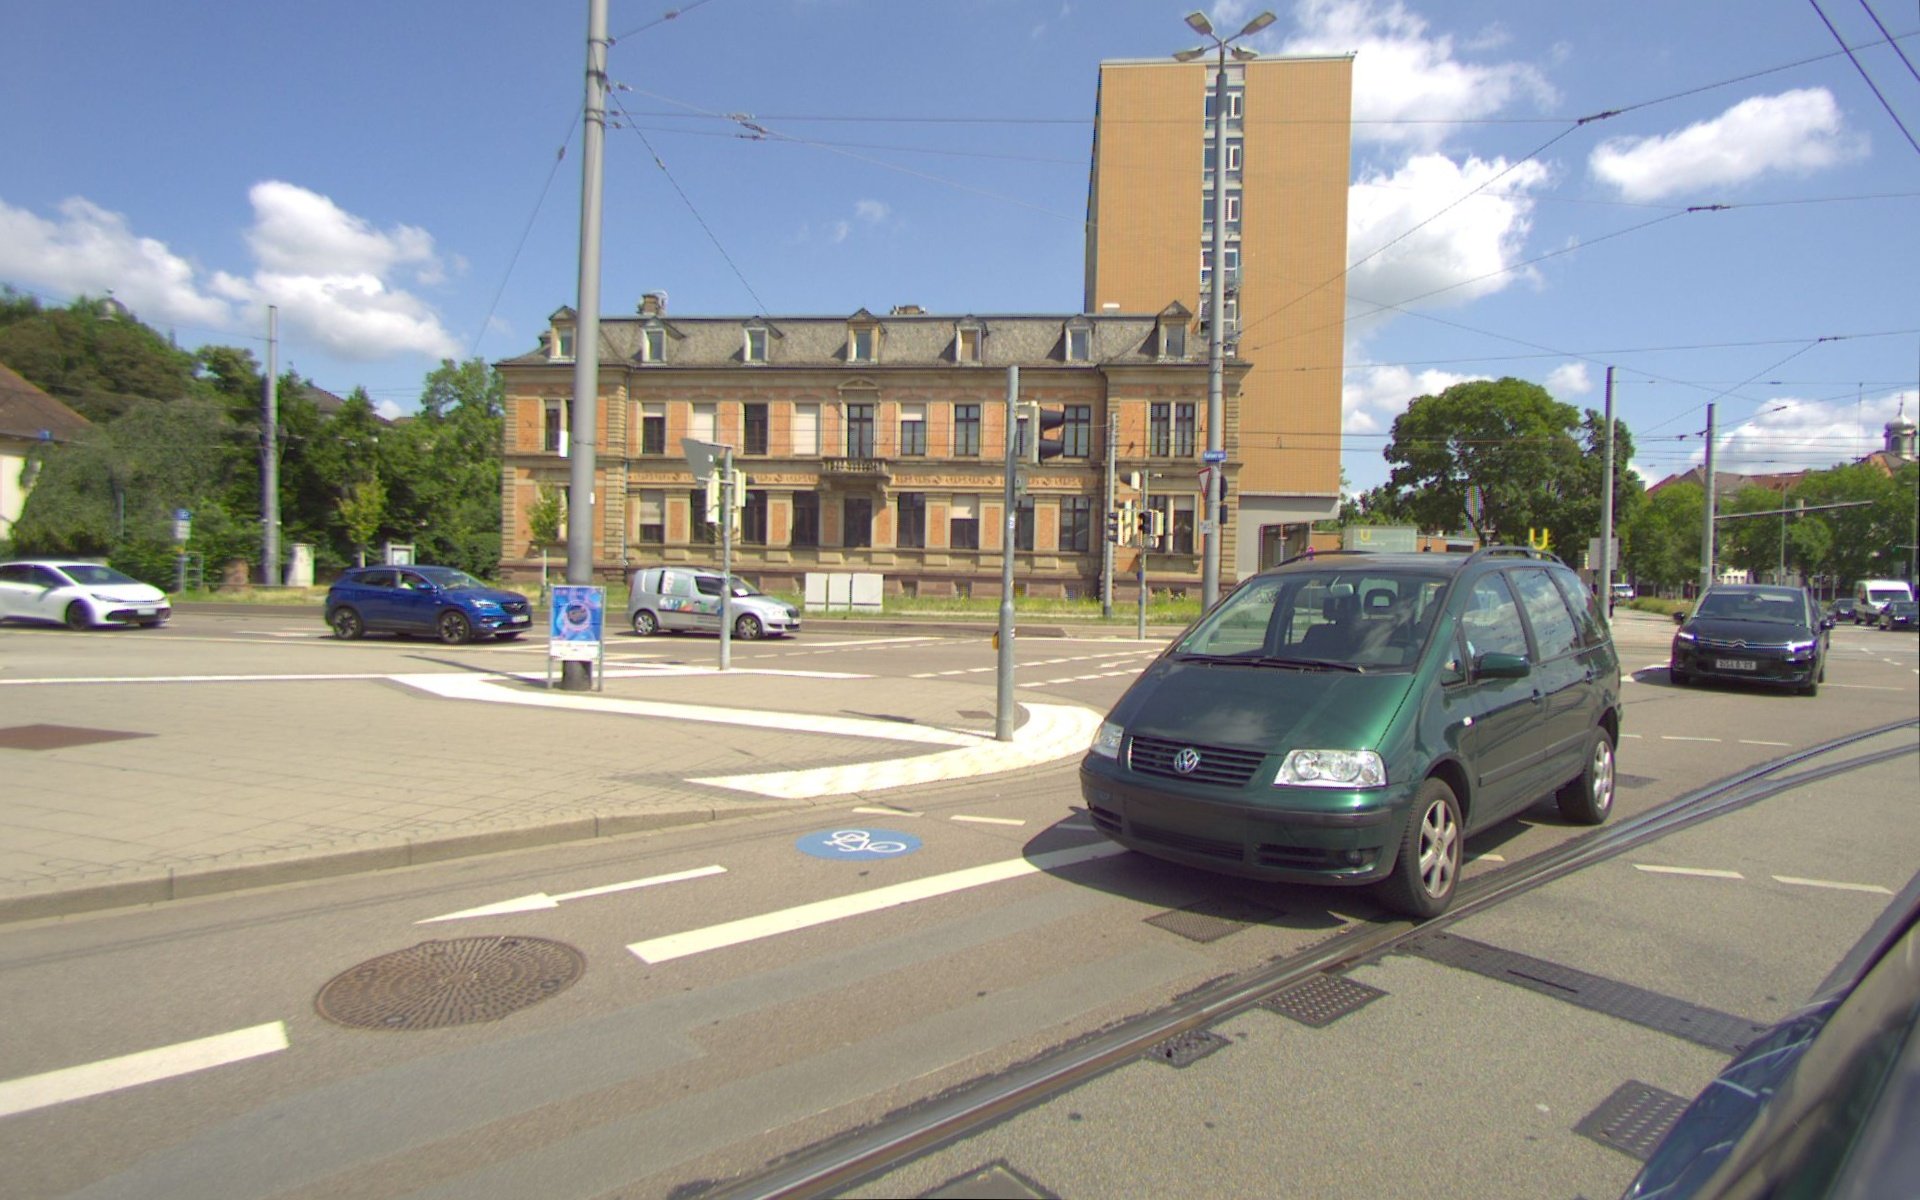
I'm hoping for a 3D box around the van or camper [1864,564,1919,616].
[{"bbox_3d":[52.081,-0.563,56.274,2.222,2.769,5.446,2,2,38],"label":"van or camper"}]

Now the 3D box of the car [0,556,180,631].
[{"bbox_3d":[-20.601,-0.199,23.524,3.938,1.585,1.931,1,2,15],"label":"car"}]

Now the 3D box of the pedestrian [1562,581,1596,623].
[{"bbox_3d":[26.406,0.082,43.170,1.011,1.741,0.726,1,1,10],"label":"pedestrian"}]

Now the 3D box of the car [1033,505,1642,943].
[{"bbox_3d":[2.464,0.461,6.054,4.016,1.739,1.817,-1,1,-43],"label":"car"}]

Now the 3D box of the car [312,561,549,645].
[{"bbox_3d":[-11.311,0.002,21.706,4.361,1.569,1.868,1,3,14],"label":"car"}]

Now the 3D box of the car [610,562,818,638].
[{"bbox_3d":[-5.687,-0.040,23.598,4.359,1.607,1.867,1,2,13],"label":"car"}]

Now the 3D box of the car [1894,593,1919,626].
[{"bbox_3d":[46.256,0.458,48.440,1.892,1.482,4.203,2,2,38],"label":"car"}]

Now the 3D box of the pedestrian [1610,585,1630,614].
[{"bbox_3d":[36.606,-0.031,56.122,0.827,1.605,0.757,2,1,40],"label":"pedestrian"}]

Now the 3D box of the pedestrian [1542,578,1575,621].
[{"bbox_3d":[26.001,-0.046,43.984,1.011,1.835,0.726,1,1,10],"label":"pedestrian"}]

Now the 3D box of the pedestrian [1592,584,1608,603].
[{"bbox_3d":[62.104,-0.635,98.179,1.141,1.710,1.299,2,1,27],"label":"pedestrian"}]

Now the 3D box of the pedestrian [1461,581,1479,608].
[{"bbox_3d":[32.769,-0.356,65.052,0.827,1.646,0.757,2,1,40],"label":"pedestrian"}]

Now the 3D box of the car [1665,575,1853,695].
[{"bbox_3d":[13.092,0.449,16.484,1.870,1.636,4.355,4,3,45],"label":"car"}]

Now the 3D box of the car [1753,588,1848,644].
[{"bbox_3d":[25.034,0.411,30.090,1.868,1.504,4.357,2,2,43],"label":"car"}]

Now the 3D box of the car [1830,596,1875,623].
[{"bbox_3d":[56.449,0.589,64.080,1.772,1.594,3.909,2,1,37],"label":"car"}]
